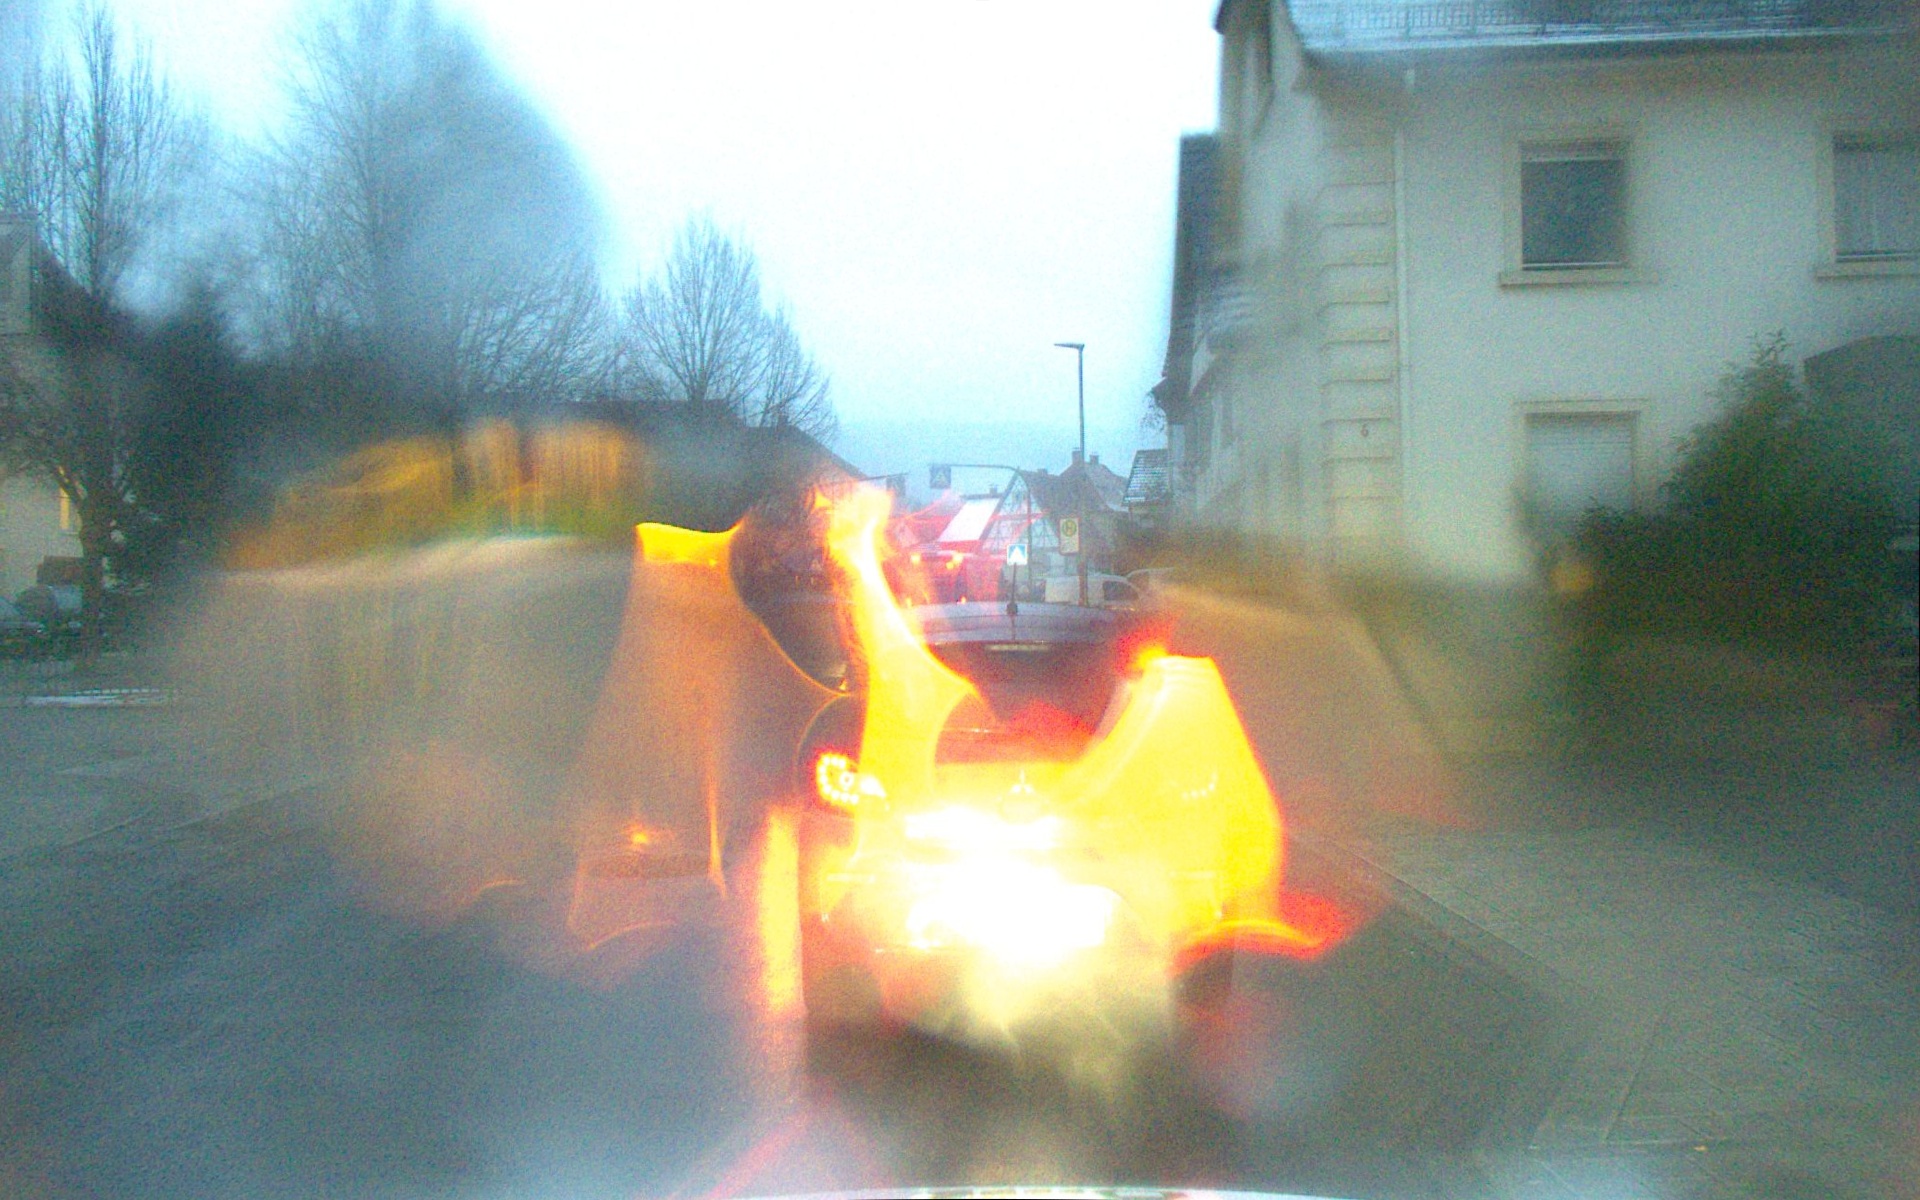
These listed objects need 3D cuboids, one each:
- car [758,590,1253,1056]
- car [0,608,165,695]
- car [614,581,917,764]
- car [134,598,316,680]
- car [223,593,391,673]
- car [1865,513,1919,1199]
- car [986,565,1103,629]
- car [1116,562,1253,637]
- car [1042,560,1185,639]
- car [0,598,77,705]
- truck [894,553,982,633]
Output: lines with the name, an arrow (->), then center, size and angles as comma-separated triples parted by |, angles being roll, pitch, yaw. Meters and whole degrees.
car -> 0.127, 0.723, 7.060 | 1.604, 1.507, 3.378 | 0, 0, -1
car -> -19.396, 1.083, 35.666 | 3.903, 1.760, 1.820 | 0, 0, 19
car -> -1.899, 0.576, 15.414 | 1.622, 1.507, 3.236 | 0, 1, -32
car -> -18.180, 0.930, 40.946 | 3.903, 1.944, 1.820 | 0, 0, 19
car -> -17.298, 0.853, 43.834 | 3.903, 2.033, 1.820 | 0, 0, 19
car -> 4.075, 0.562, 3.195 | 3.795, 1.607, 1.680 | -1, 0, -6
car -> 3.011, -0.100, 58.444 | 4.010, 2.189, 1.915 | 0, 0, 6
car -> 6.752, -0.016, 49.897 | 4.010, 2.189, 1.915 | 0, 0, 6
car -> 4.425, -0.010, 47.601 | 4.010, 2.200, 1.915 | 0, 0, 6
car -> -19.806, 0.984, 32.863 | 3.903, 2.023, 1.820 | 0, 0, 19
truck -> -0.841, -0.315, 69.906 | 2.952, 3.183, 8.005 | 0, 0, 5
